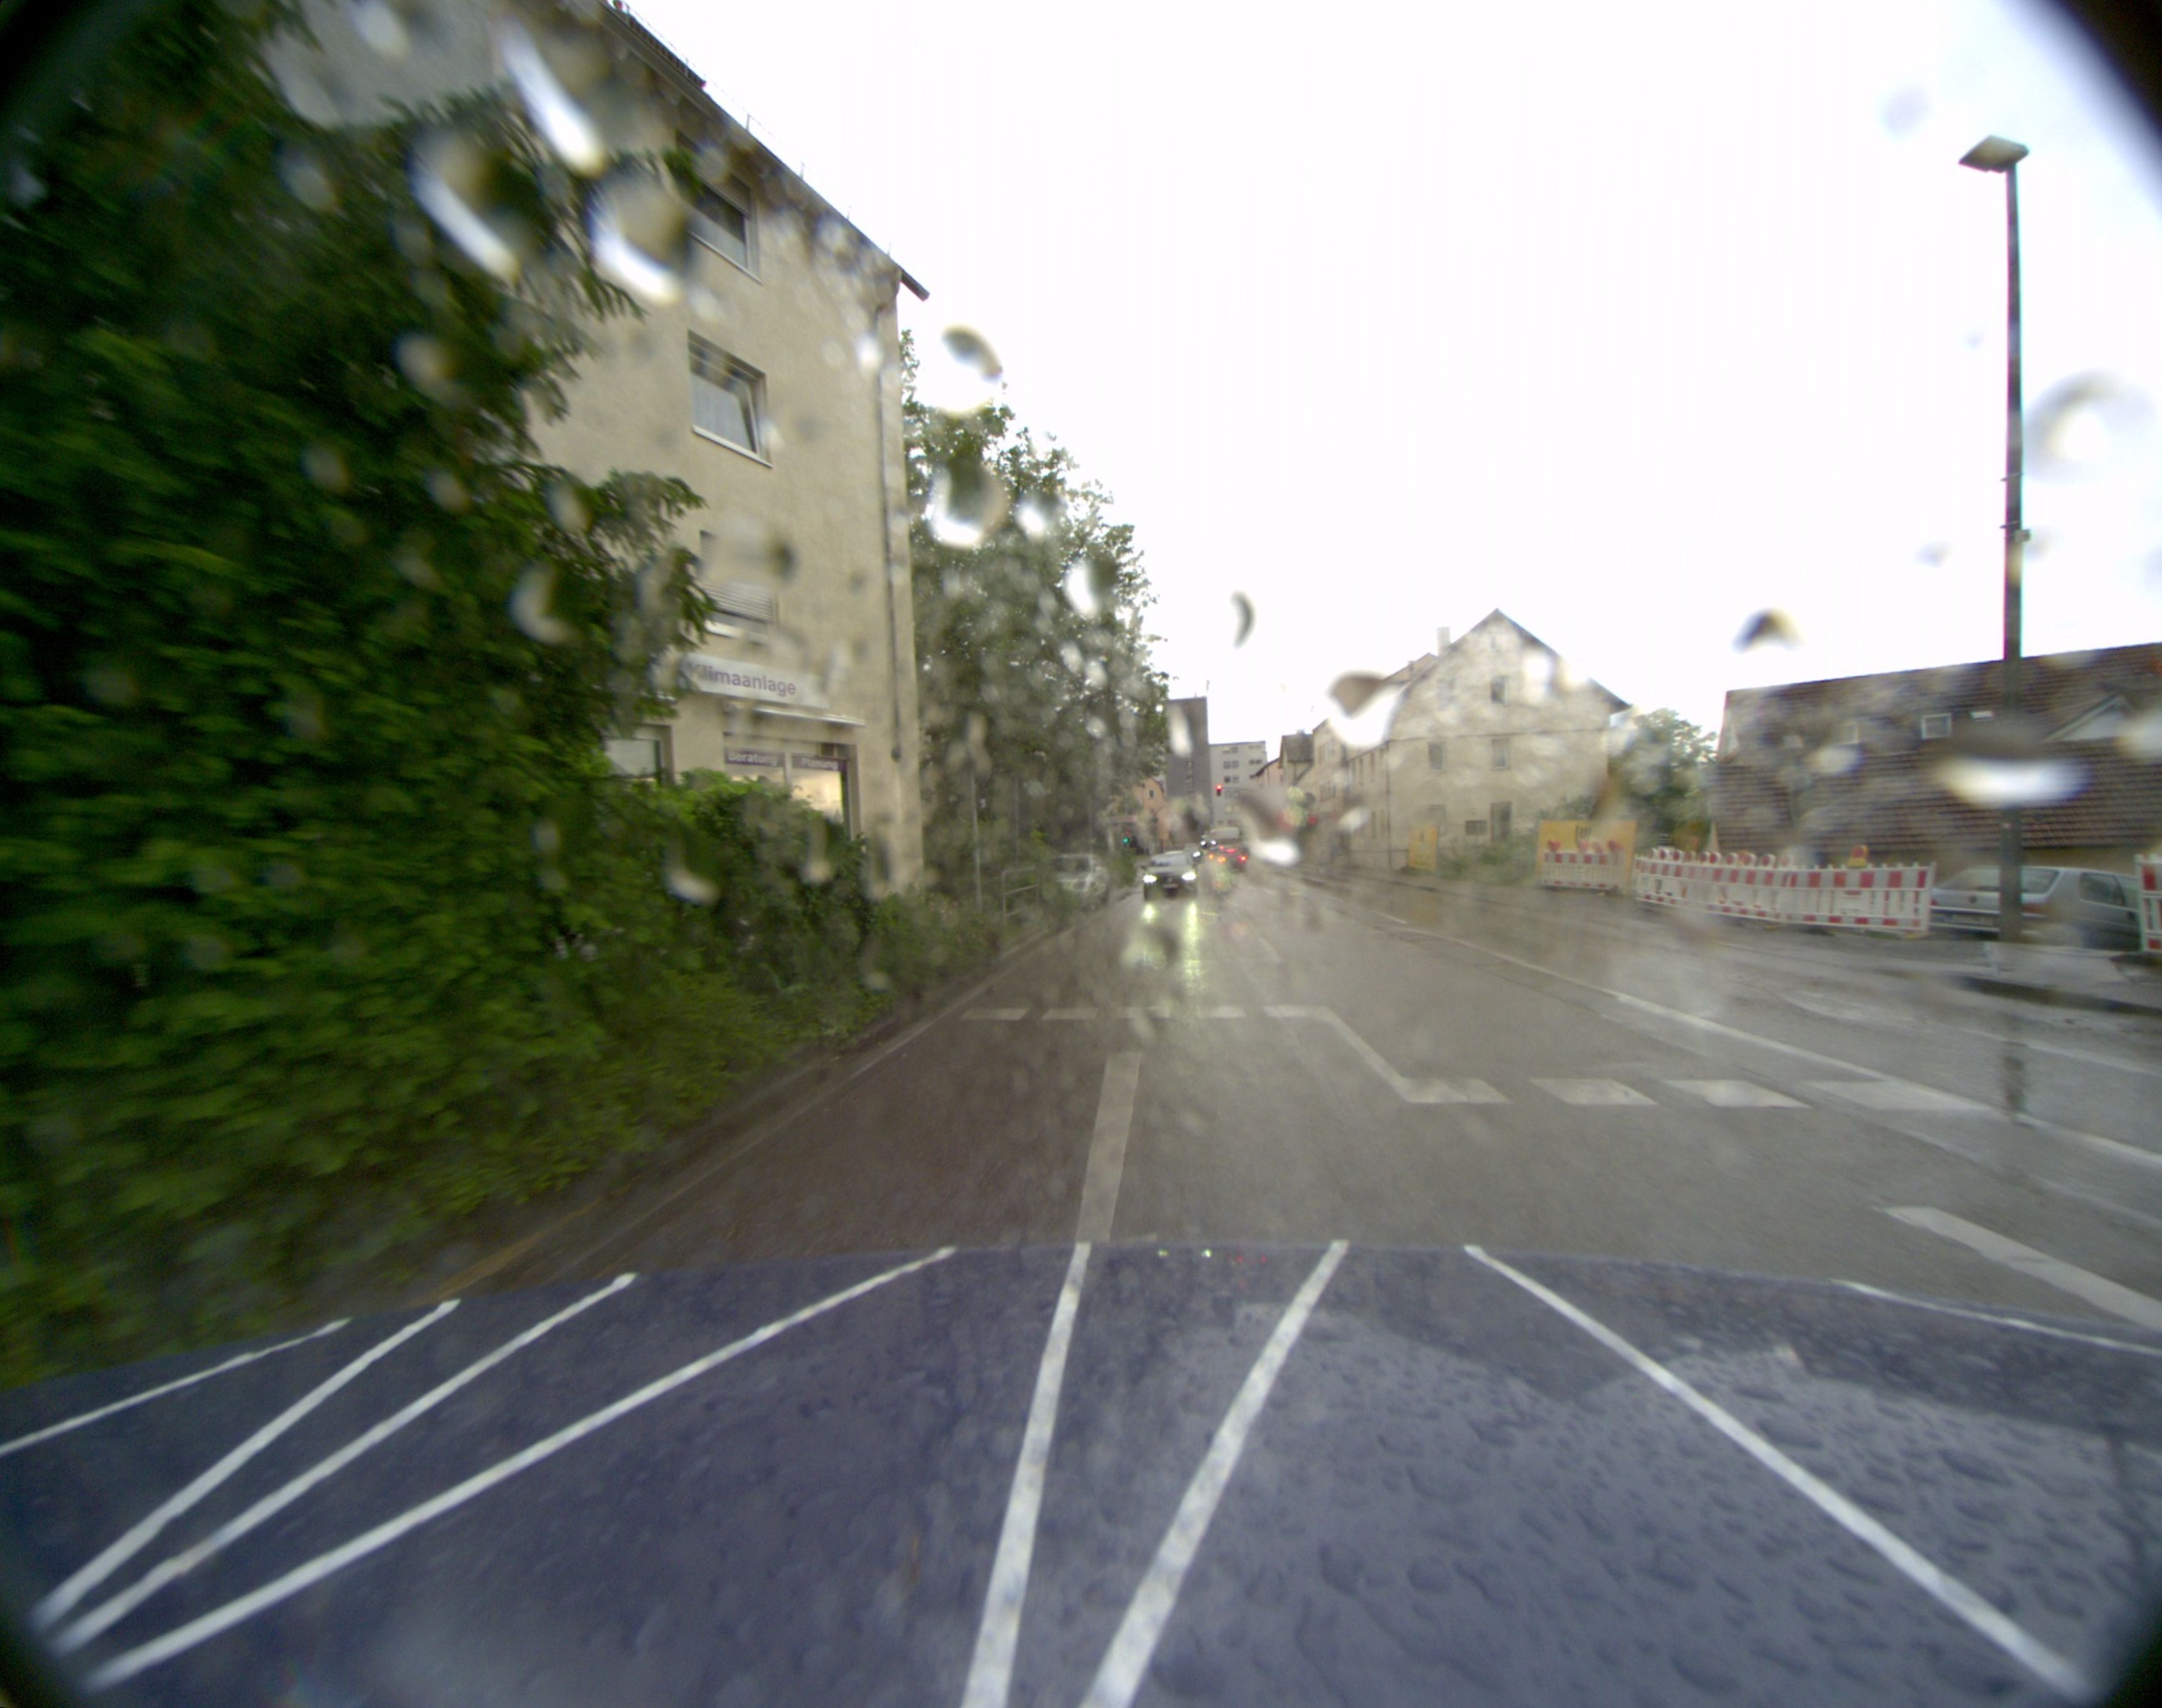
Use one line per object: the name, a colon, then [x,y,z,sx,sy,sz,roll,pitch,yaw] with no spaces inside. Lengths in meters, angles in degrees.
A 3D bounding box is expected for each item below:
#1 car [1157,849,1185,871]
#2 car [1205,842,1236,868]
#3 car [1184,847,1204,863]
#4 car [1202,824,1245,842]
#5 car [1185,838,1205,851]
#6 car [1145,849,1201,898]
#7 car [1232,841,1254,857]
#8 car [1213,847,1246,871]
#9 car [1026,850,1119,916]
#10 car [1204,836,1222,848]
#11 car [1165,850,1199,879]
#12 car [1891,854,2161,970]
car: [6.137,0.381,52.151,1.686,1.413,4.001,-3,0,5]
car: [9.739,0.064,53.398,1.819,1.635,4.277,-3,0,7]
car: [10.770,0.067,72.265,1.685,1.452,4.002,-3,0,9]
car: [23.443,-3.456,125.341,6.420,2.506,2.675,-4,0,-5]
car: [13.753,-1.117,91.376,1.684,1.452,4.004,-2,1,17]
car: [3.382,0.660,28.124,1.819,1.562,4.277,-3,0,6]
car: [16.418,-0.540,77.005,1.819,1.562,4.277,-1,1,8]
car: [9.137,0.282,46.951,1.710,1.375,3.671,-3,0,7]
car: [-0.140,0.786,23.240,1.934,1.770,4.737,-1,0,10]
car: [19.284,-1.771,110.649,1.547,1.525,3.694,-3,1,27]
car: [5.241,0.505,39.500,1.641,1.424,3.807,-1,0,8]
car: [14.367,0.869,11.002,3.508,1.382,1.651,5,-1,-2]
